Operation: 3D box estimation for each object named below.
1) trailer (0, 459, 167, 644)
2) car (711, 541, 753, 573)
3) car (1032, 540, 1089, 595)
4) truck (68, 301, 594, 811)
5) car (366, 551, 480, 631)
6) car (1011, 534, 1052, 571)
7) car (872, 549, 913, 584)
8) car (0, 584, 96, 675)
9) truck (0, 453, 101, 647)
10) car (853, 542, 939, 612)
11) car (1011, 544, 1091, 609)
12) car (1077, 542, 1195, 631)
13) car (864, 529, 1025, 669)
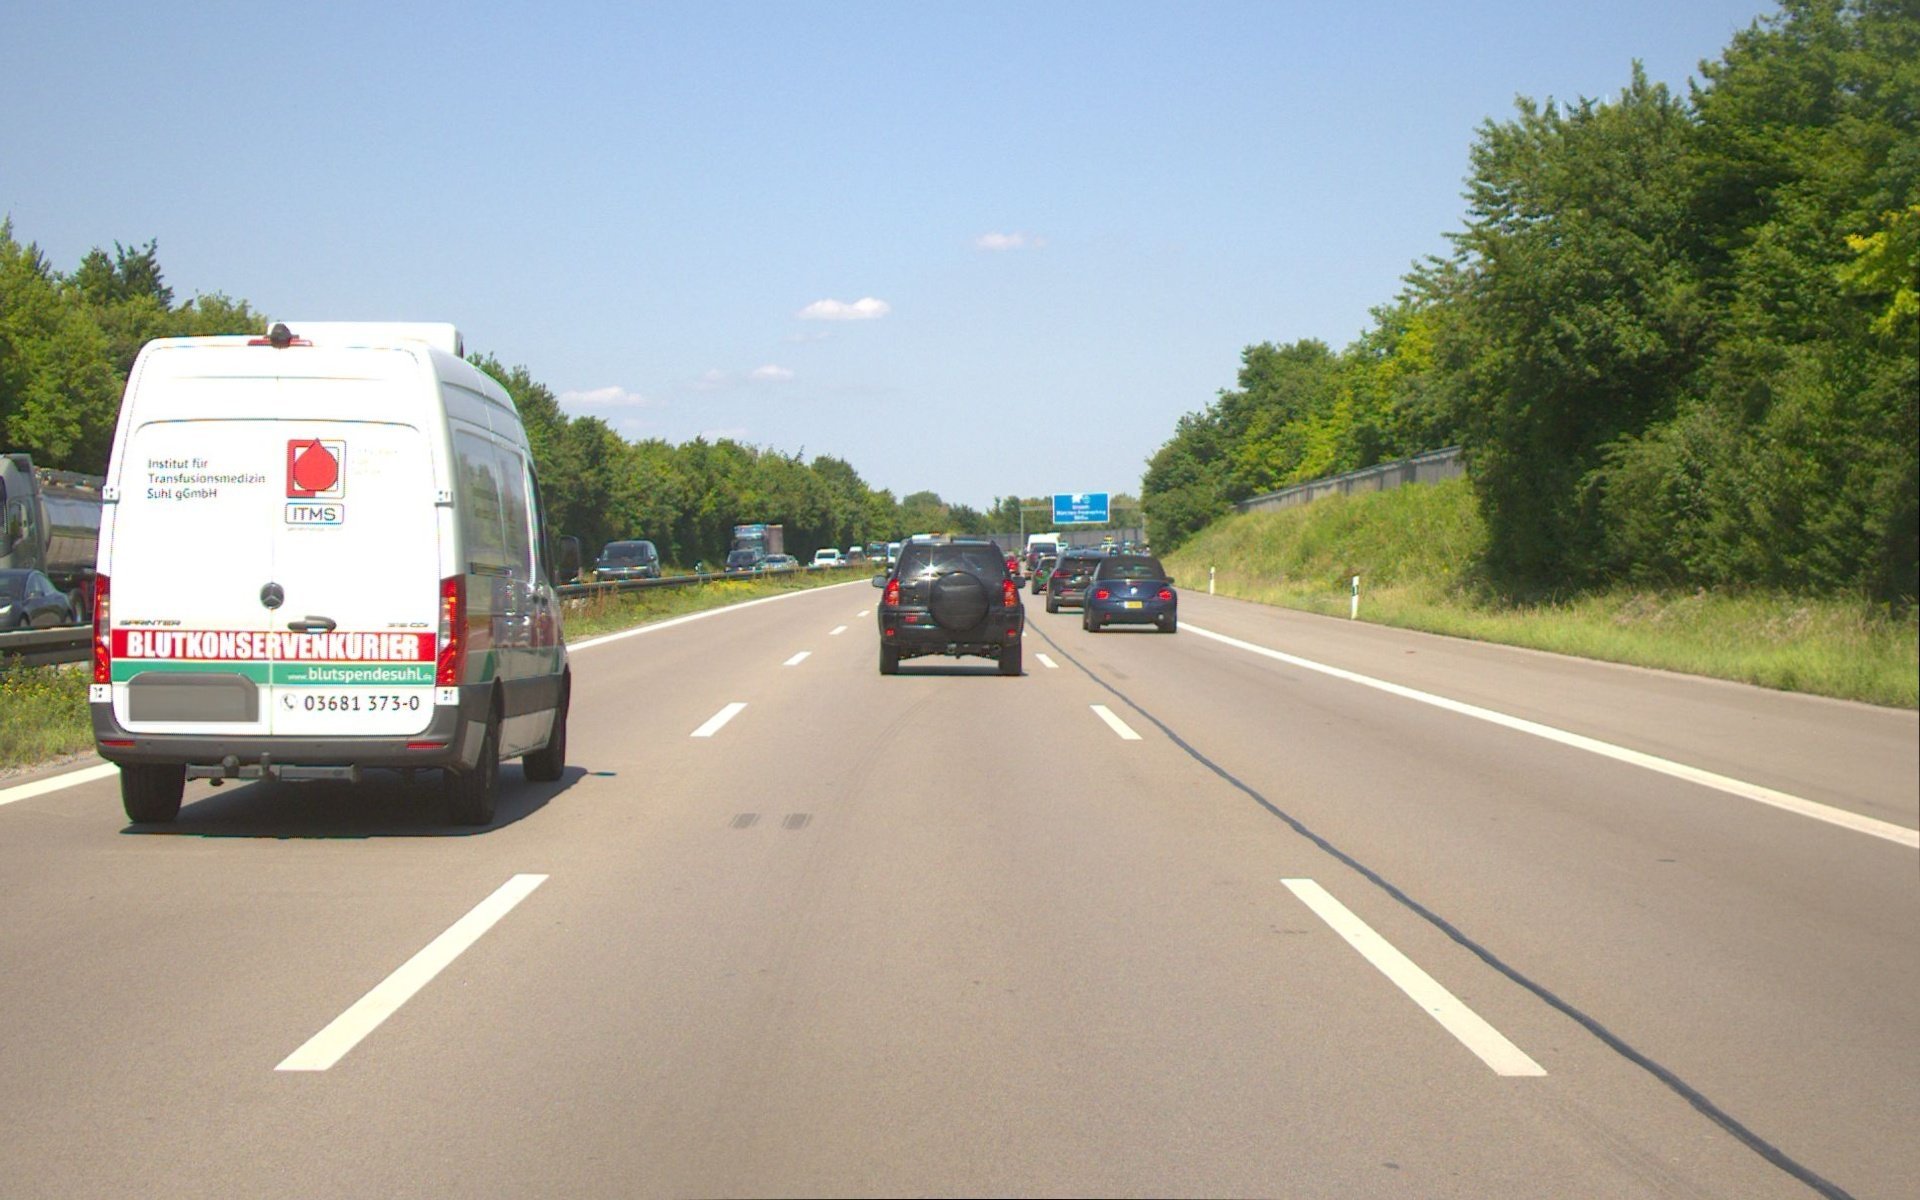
[{"bbox_3d":[-20.399,-1.076,77.869,2.766,3.869,9.458,-3,1,-2],"label":"trailer"},{"bbox_3d":[-12.399,-2.339,186.971,1.993,1.660,4.474,-1,1,0],"label":"car"},{"bbox_3d":[3.730,-1.207,128.556,1.993,2.007,4.000,0,0,0],"label":"car"},{"bbox_3d":[-3.532,-0.280,20.702,1.993,2.533,6.692,1,1,-1],"label":"truck"},{"bbox_3d":[-12.449,-0.240,79.995,1.906,1.782,5.060,-1,1,-1],"label":"car"},{"bbox_3d":[4.036,-2.690,194.284,1.993,2.007,4.768,-1,1,-2],"label":"car"},{"bbox_3d":[-3.909,-1.954,199.765,1.994,2.007,4.949,-1,1,3],"label":"car"},{"bbox_3d":[-15.937,0.470,57.245,1.906,1.411,4.891,-1,1,-1],"label":"car"},{"bbox_3d":[-20.178,-0.993,72.127,2.731,3.869,6.323,-3,1,-2],"label":"truck"},{"bbox_3d":[-1.616,-0.603,88.254,1.993,1.700,4.336,-1,1,2],"label":"car"},{"bbox_3d":[2.311,-0.595,87.848,1.842,1.606,4.000,0,0,-1],"label":"car"},{"bbox_3d":[3.422,-0.261,67.576,1.993,1.678,4.000,0,0,-2],"label":"car"},{"bbox_3d":[-0.227,-0.007,43.091,1.906,1.659,4.000,0,0,-1],"label":"car"}]
